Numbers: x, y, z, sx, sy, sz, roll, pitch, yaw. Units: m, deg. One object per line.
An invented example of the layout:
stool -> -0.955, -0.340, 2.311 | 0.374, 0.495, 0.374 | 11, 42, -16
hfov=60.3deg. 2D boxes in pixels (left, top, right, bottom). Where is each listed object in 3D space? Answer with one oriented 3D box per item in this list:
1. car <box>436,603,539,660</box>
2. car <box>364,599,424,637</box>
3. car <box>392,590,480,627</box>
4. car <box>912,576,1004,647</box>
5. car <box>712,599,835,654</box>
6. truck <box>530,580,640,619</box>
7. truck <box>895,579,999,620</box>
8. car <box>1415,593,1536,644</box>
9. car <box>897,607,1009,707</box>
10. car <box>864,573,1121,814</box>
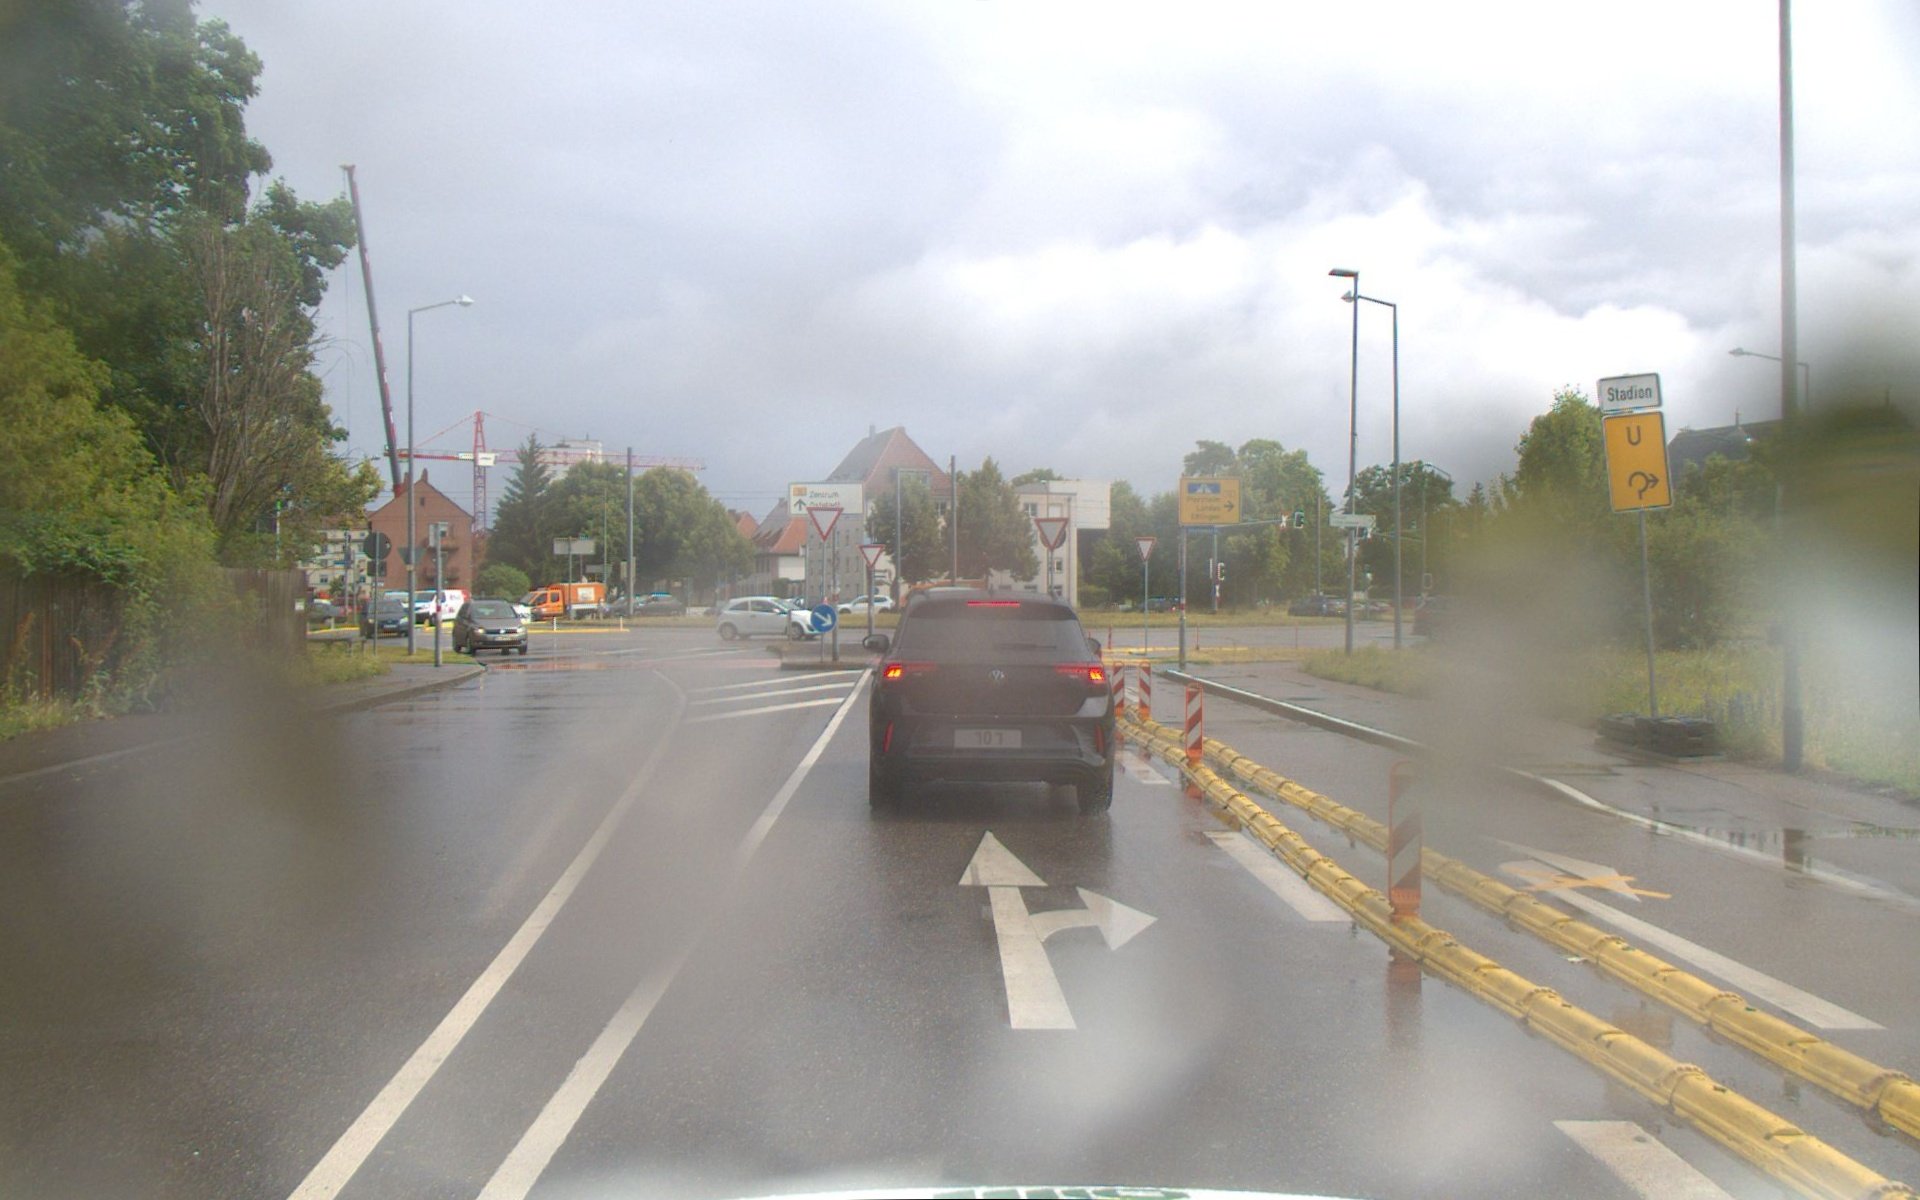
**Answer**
car -> -14.576, 0.972, 50.900 | 1.765, 1.579, 4.373 | -3, 0, -34
car -> -23.474, 0.749, 68.511 | 1.851, 1.508, 4.143 | 0, -1, -26
car -> -27.490, 0.431, 86.960 | 1.848, 1.909, 5.135 | 0, 0, 17
car -> -0.002, 0.298, 45.472 | 1.824, 1.841, 4.407 | 0, 0, 9
car -> -6.531, 0.923, 58.123 | 3.902, 1.862, 2.002 | 0, 0, 8
truck -> -24.495, -0.045, 108.200 | 6.649, 2.485, 2.403 | 0, 0, -36
truck -> -0.866, -0.058, 110.787 | 6.923, 2.696, 2.329 | 0, 0, -1
car -> 17.340, 0.613, 55.719 | 3.858, 1.673, 1.672 | 0, 0, 17
car -> -0.173, 0.907, 27.738 | 1.701, 1.540, 3.601 | 0, 0, -3
car -> 0.119, 0.643, 12.966 | 1.675, 1.601, 3.679 | 1, 0, -4
